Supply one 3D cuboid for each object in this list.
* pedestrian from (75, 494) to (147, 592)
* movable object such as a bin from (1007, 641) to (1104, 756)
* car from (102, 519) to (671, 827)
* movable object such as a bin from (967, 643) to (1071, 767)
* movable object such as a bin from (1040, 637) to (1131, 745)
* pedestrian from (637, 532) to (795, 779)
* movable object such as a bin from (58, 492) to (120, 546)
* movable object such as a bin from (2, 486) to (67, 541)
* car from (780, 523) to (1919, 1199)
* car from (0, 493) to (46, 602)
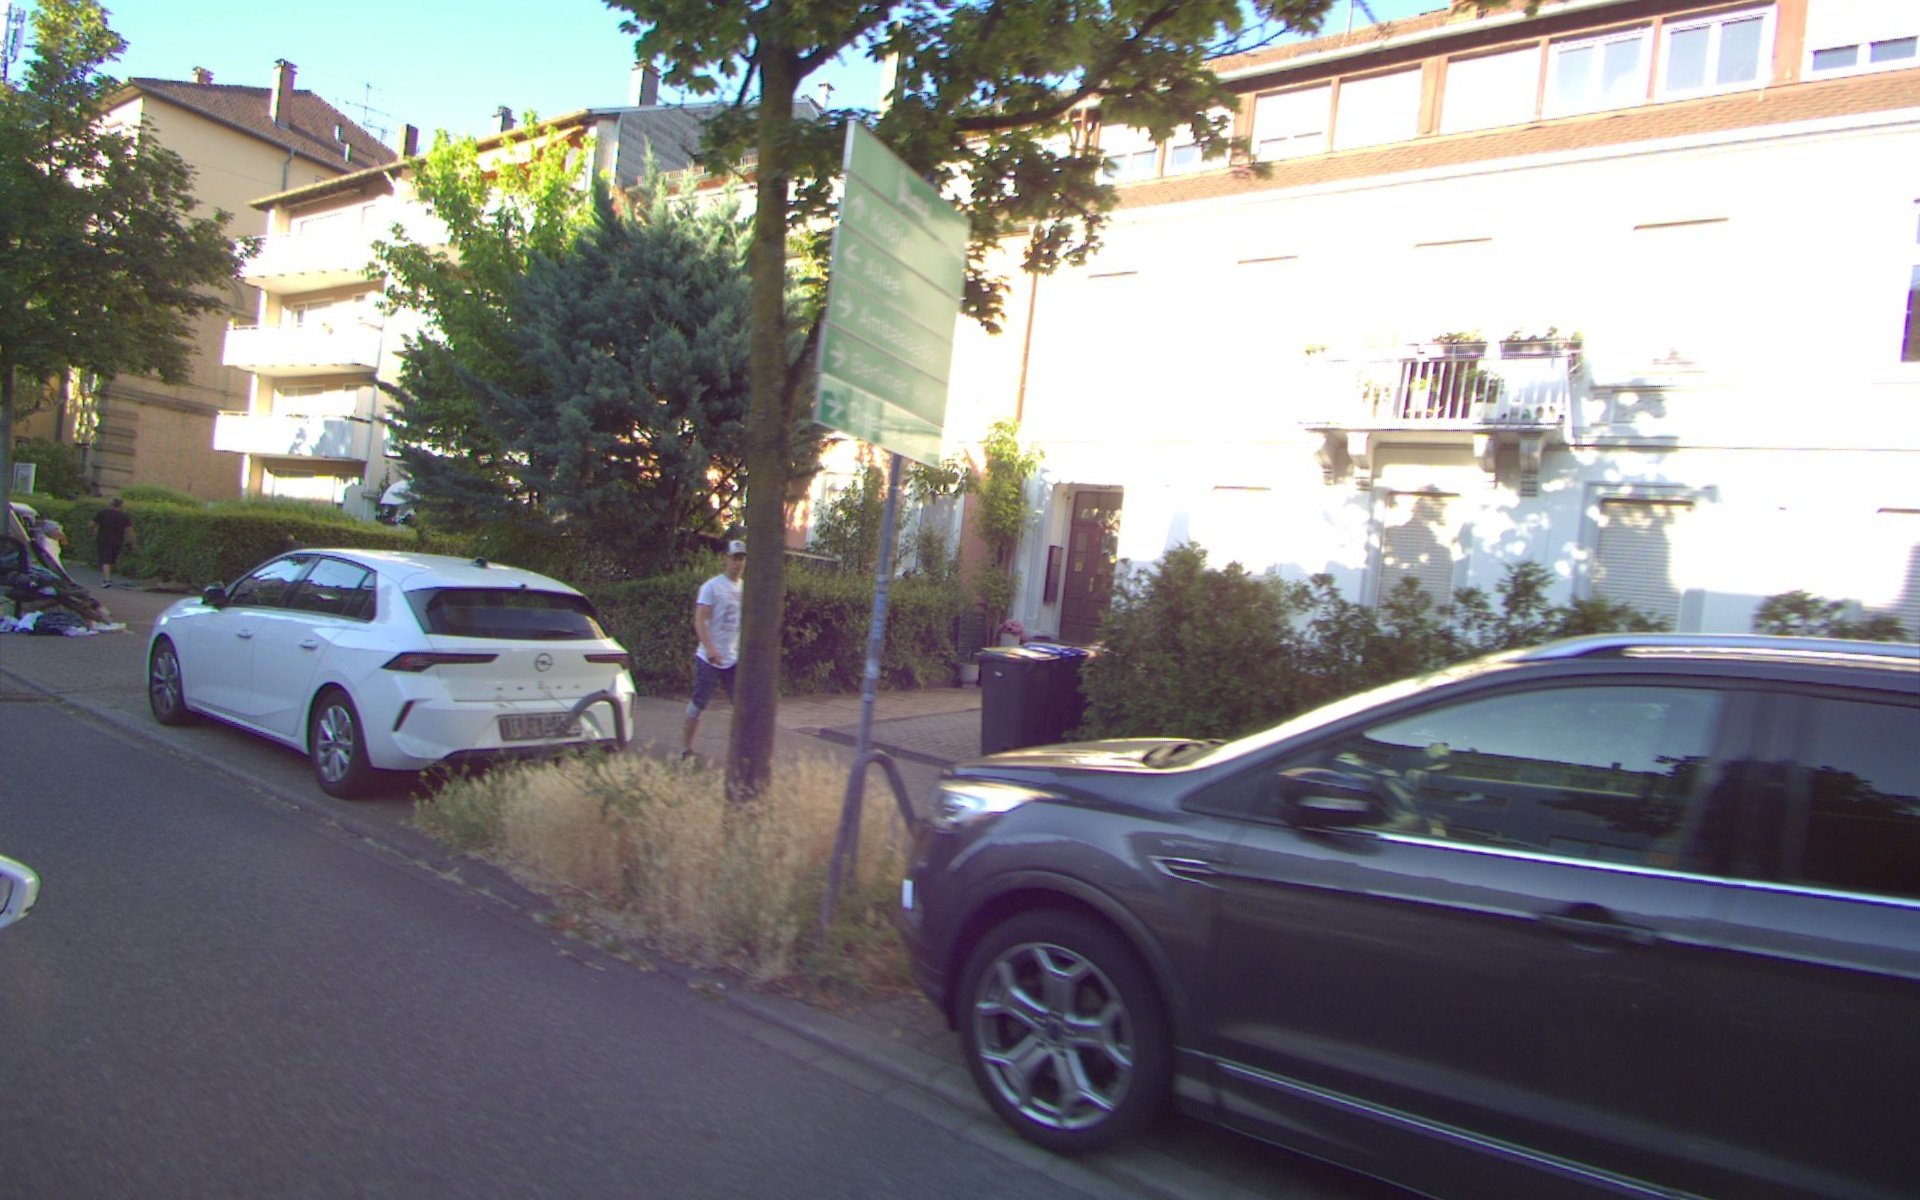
[{"bbox_3d":[-15.291,-1.016,18.125,0.570,1.636,0.747,7,1,32],"label":"pedestrian"},{"bbox_3d":[1.006,1.015,10.592,0.673,1.073,0.725,7,4,32],"label":"movable object such as a bin"},{"bbox_3d":[-4.256,0.345,7.239,4.264,1.420,1.762,7,1,34],"label":"car"},{"bbox_3d":[0.586,1.008,9.914,0.673,1.073,0.725,7,4,32],"label":"movable object such as a bin"},{"bbox_3d":[1.406,0.996,11.257,0.673,1.073,0.725,7,4,32],"label":"movable object such as a bin"},{"bbox_3d":[-1.901,0.433,7.872,0.752,1.802,0.669,5,-4,33],"label":"pedestrian"},{"bbox_3d":[-29.087,-2.691,33.591,0.976,1.575,1.158,7,1,24],"label":"movable object such as a bin"},{"bbox_3d":[-29.961,-2.789,32.562,0.976,1.575,1.158,7,1,24],"label":"movable object such as a bin"},{"bbox_3d":[1.908,0.860,3.015,4.630,1.703,1.917,7,1,32],"label":"car"},{"bbox_3d":[-15.268,-0.963,14.674,4.412,1.467,1.771,7,1,33],"label":"car"}]
